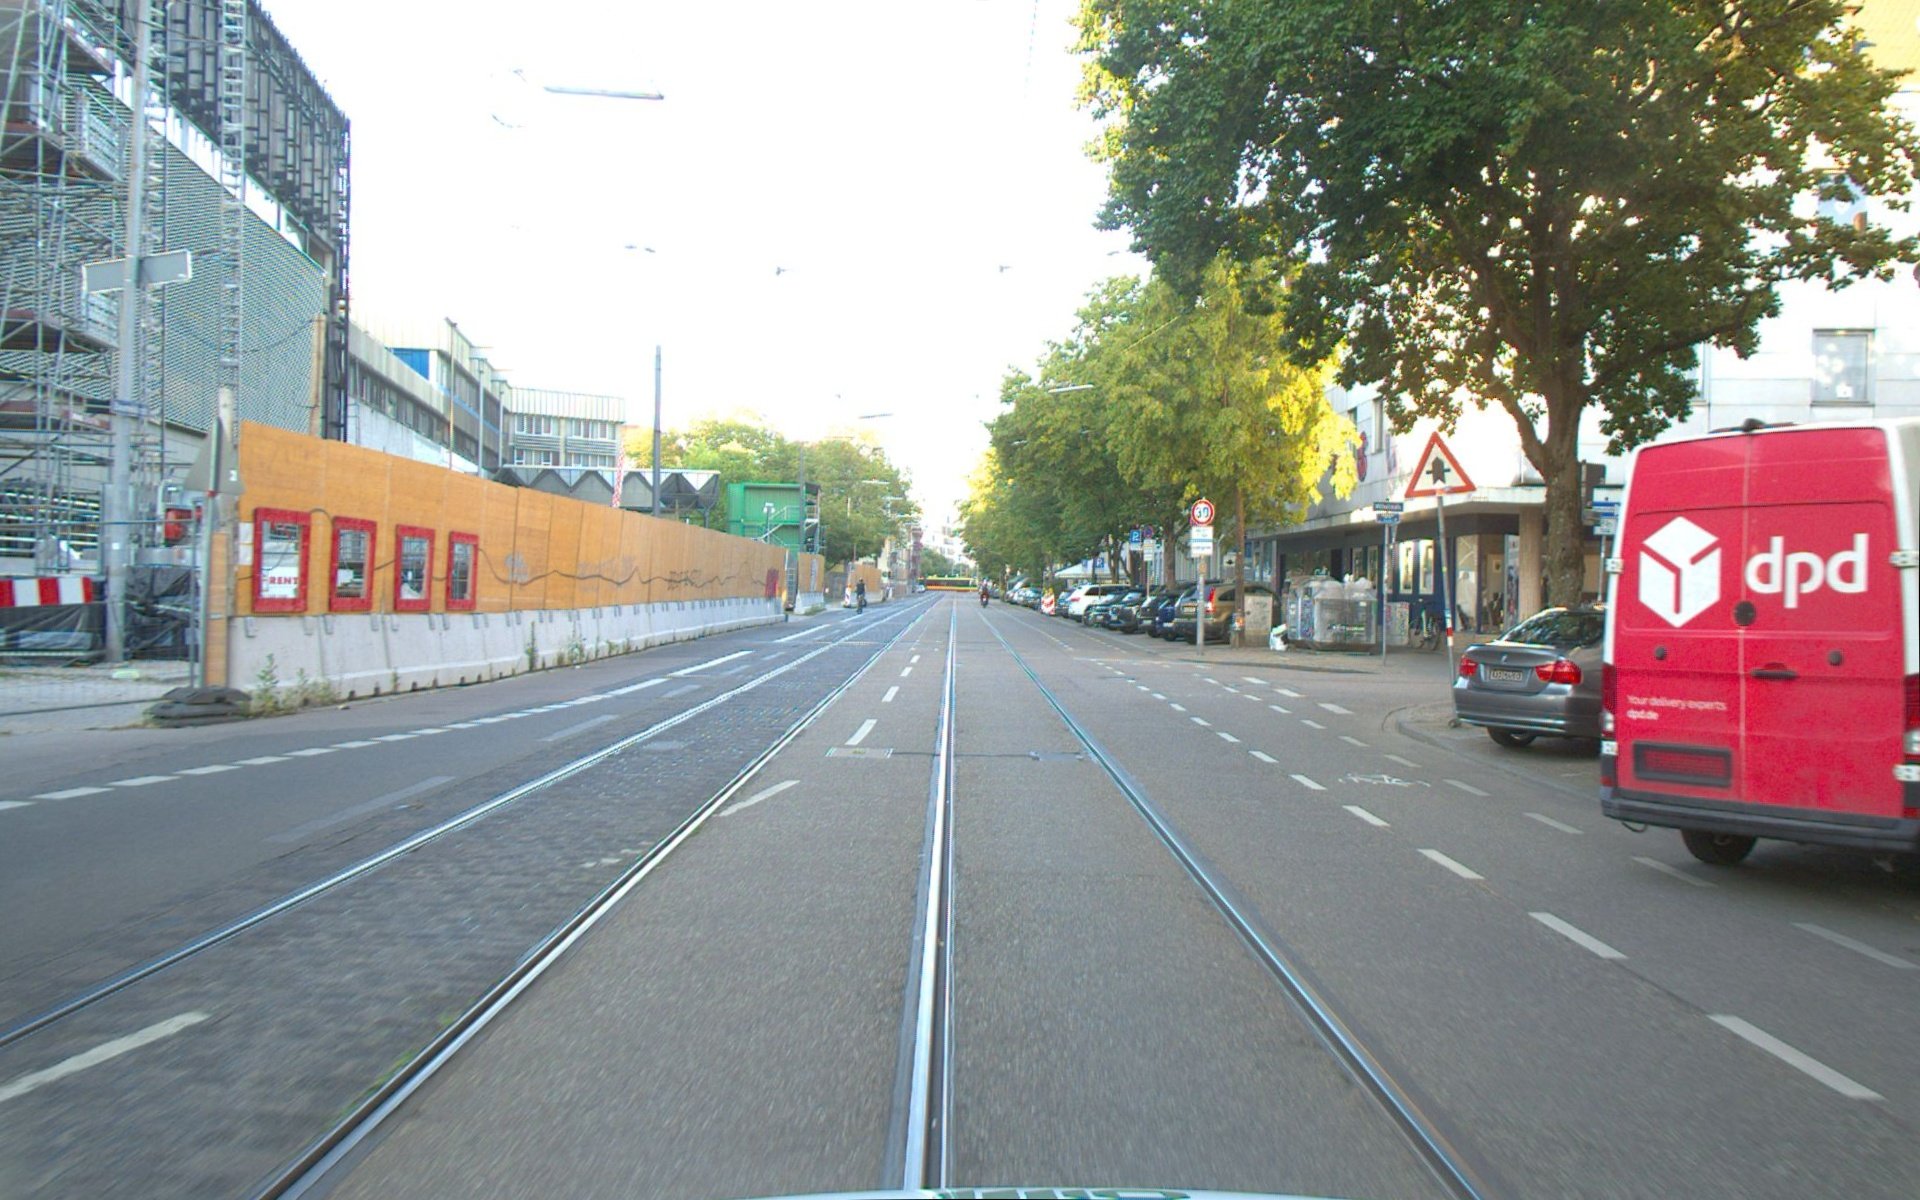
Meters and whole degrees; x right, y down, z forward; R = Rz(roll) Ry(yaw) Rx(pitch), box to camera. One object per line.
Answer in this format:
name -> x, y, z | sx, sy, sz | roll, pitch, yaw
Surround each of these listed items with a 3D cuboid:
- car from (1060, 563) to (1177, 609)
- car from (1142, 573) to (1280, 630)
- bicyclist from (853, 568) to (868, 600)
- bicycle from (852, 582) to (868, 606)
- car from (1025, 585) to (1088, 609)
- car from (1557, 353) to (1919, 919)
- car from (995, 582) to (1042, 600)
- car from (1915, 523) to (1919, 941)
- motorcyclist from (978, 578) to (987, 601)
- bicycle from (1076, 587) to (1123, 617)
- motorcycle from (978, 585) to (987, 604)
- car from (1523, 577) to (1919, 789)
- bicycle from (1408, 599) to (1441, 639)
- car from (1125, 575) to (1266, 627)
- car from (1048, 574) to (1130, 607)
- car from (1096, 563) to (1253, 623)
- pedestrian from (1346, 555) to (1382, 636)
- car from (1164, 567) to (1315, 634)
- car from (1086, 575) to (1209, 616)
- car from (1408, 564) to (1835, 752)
car -> 6.548, -0.579, 68.605 | 4.558, 1.717, 2.006 | -2, 1, -5
car -> 7.600, 0.042, 49.997 | 3.843, 1.528, 1.794 | -3, 1, -31
bicyclist -> -5.254, -0.835, 87.192 | 0.752, 1.694, 1.018 | 0, 0, 0
bicycle -> -5.261, -0.333, 87.168 | 0.752, 1.249, 1.936 | 0, 1, 0
car -> 6.899, -0.229, 118.349 | 4.053, 1.496, 1.814 | -3, 1, -18
car -> 6.389, 0.156, 10.425 | 5.575, 2.741, 2.145 | 0, 1, -35
car -> 5.375, -0.819, 152.720 | 3.899, 1.512, 1.906 | -1, -1, -24
car -> 7.162, 0.577, 8.138 | 5.575, 1.928, 2.145 | 0, 1, -35
motorcyclist -> 1.674, -0.763, 123.417 | 0.632, 1.726, 1.026 | 1, 0, -1
bicycle -> 5.611, 0.058, 66.647 | 1.804, 1.122, 0.496 | -3, 1, -14
motorcycle -> 1.669, -0.400, 123.293 | 0.632, 1.393, 1.811 | 1, 0, -1
car -> 7.067, 0.584, 13.988 | 4.344, 1.470, 1.969 | -2, 1, -29
bicycle -> 11.190, 0.450, 39.889 | 0.334, 0.898, 1.326 | -2, 1, -3
car -> 7.543, 0.024, 52.935 | 4.108, 1.490, 1.953 | -3, 1, -28
car -> 6.675, -0.495, 85.355 | 3.912, 1.580, 1.692 | -1, 0, -26
car -> 7.398, -0.255, 57.170 | 4.888, 1.858, 2.196 | -2, 1, -19
pedestrian -> 10.295, -0.126, 42.162 | 0.677, 2.020, 0.786 | -2, 0, 0
car -> 7.956, -0.004, 47.013 | 4.120, 1.693, 1.820 | -3, 1, -35
car -> 6.992, -0.172, 61.649 | 4.154, 1.451, 1.963 | 0, 1, -23
car -> 6.748, 0.474, 16.682 | 4.555, 1.539, 1.840 | -3, 2, -35
